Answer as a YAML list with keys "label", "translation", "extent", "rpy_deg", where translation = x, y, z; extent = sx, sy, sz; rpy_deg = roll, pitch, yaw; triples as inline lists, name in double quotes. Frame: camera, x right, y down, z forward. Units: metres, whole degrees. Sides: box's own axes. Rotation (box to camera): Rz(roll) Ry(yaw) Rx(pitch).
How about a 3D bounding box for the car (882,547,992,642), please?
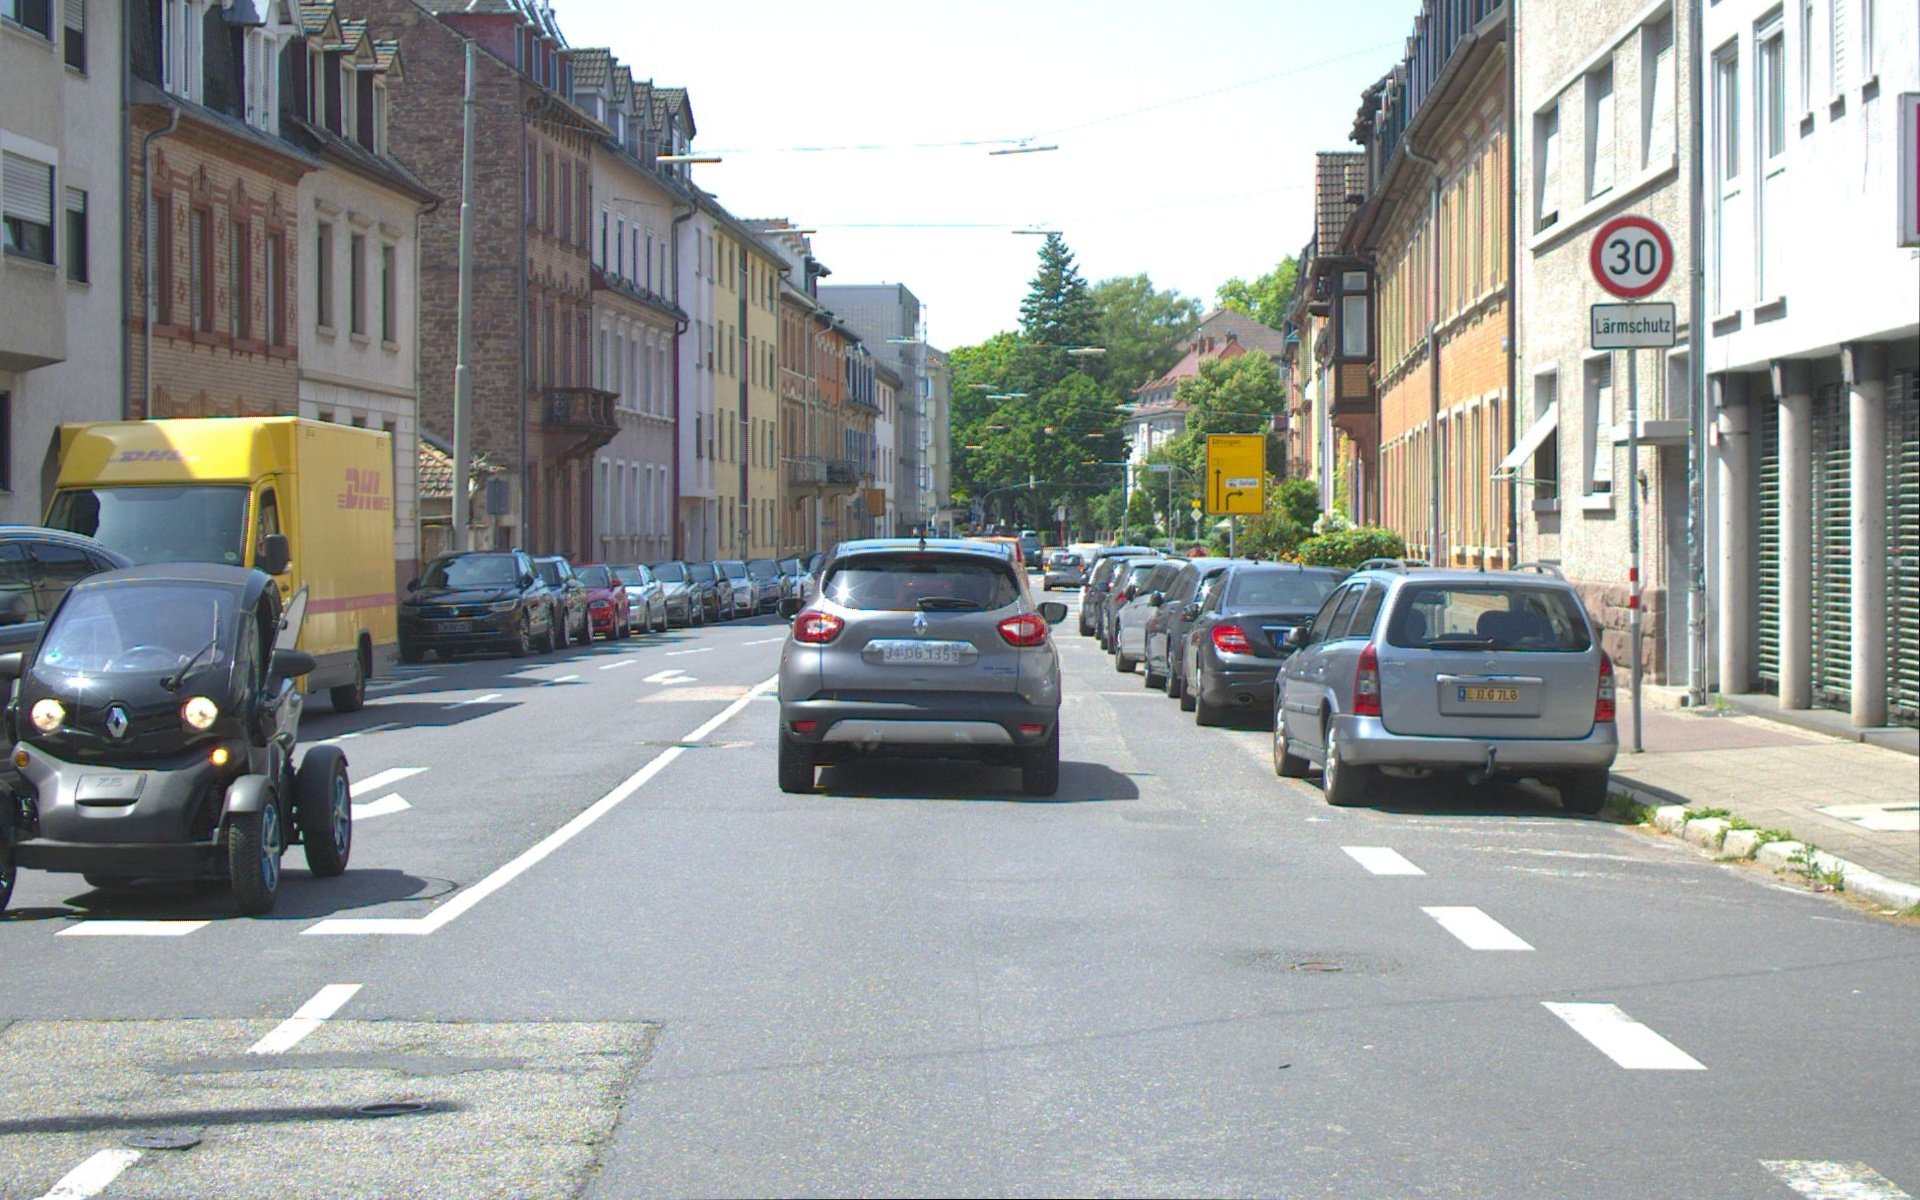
- label: "car"
  translation: [-0.381, -0.128, 62.148]
  extent: [1.812, 1.615, 4.441]
  rpy_deg: [-1, 1, 1]

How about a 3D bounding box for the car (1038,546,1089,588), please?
- label: "car"
  translation: [3.953, -1.269, 130.612]
  extent: [1.764, 1.554, 3.942]
  rpy_deg: [0, 1, 4]

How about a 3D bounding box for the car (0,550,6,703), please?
- label: "car"
  translation: [-9.333, 0.341, 28.049]
  extent: [1.839, 1.590, 4.387]
  rpy_deg: [2, 1, 0]

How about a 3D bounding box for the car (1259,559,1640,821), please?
- label: "car"
  translation: [2.994, 0.492, 21.830]
  extent: [1.677, 1.449, 4.143]
  rpy_deg: [2, 1, -2]

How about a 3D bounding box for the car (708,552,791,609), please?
- label: "car"
  translation: [-5.594, -0.533, 91.855]
  extent: [1.840, 1.418, 4.646]
  rpy_deg: [-2, 0, 1]

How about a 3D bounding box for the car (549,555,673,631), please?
- label: "car"
  translation: [-6.965, -0.147, 68.972]
  extent: [1.840, 1.418, 4.502]
  rpy_deg: [-2, 0, 2]

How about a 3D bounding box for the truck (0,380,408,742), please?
- label: "truck"
  translation: [-6.737, -0.346, 30.458]
  extent: [2.225, 2.762, 7.563]
  rpy_deg: [-1, 1, 1]

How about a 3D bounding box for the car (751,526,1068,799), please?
- label: "car"
  translation: [-0.418, 0.334, 22.527]
  extent: [1.743, 1.611, 4.001]
  rpy_deg: [1, 1, -5]

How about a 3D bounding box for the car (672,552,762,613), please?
- label: "car"
  translation: [-6.045, -0.440, 85.936]
  extent: [1.840, 1.418, 4.502]
  rpy_deg: [-2, 0, 1]

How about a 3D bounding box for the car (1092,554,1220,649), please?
- label: "car"
  translation: [2.954, 0.004, 52.529]
  extent: [1.700, 1.376, 4.167]
  rpy_deg: [1, 0, 0]

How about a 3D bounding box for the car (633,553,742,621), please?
- label: "car"
  translation: [-6.353, -0.320, 80.689]
  extent: [1.840, 1.417, 4.502]
  rpy_deg: [-4, 0, 4]

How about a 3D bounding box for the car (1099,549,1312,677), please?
- label: "car"
  translation: [2.929, 0.124, 41.970]
  extent: [1.853, 1.458, 4.551]
  rpy_deg: [1, 0, -5]

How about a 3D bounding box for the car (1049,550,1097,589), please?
- label: "car"
  translation: [4.510, -1.227, 137.001]
  extent: [1.764, 1.554, 3.942]
  rpy_deg: [0, 1, 4]

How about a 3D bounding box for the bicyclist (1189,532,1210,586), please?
- label: "bicyclist"
  translation: [6.491, -1.109, 93.209]
  extent: [0.532, 1.464, 0.791]
  rpy_deg: [0, 1, 3]

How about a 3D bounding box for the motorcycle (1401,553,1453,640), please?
- label: "motorcycle"
  translation: [6.648, -0.055, 48.974]
  extent: [0.596, 1.220, 1.361]
  rpy_deg: [0, 0, 2]

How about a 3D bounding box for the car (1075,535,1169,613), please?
- label: "car"
  translation: [3.572, -0.585, 75.727]
  extent: [1.994, 1.656, 4.625]
  rpy_deg: [0, 1, 3]

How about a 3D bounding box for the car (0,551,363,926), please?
- label: "car"
  translation: [-3.442, 0.521, 14.752]
  extent: [1.496, 1.454, 2.723]
  rpy_deg: [0, 1, -5]

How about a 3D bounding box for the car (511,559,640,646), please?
- label: "car"
  translation: [-6.949, 0.019, 62.529]
  extent: [1.839, 1.417, 4.503]
  rpy_deg: [-3, 1, -1]

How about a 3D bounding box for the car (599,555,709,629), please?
- label: "car"
  translation: [-6.629, -0.180, 74.828]
  extent: [1.840, 1.417, 4.502]
  rpy_deg: [-4, 0, 1]

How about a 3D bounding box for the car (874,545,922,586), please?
- label: "car"
  translation: [-2.543, -1.423, 142.564]
  extent: [1.904, 1.614, 4.302]
  rpy_deg: [-2, 1, -1]

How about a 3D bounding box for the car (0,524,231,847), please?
- label: "car"
  translation: [-5.597, 0.441, 17.816]
  extent: [1.813, 1.615, 4.439]
  rpy_deg: [-1, 0, 13]

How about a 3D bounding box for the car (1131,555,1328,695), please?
- label: "car"
  translation: [2.845, 0.231, 37.025]
  extent: [1.651, 1.415, 4.049]
  rpy_deg: [0, 1, -2]

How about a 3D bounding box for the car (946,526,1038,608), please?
- label: "car"
  translation: [0.842, -0.856, 87.210]
  extent: [1.994, 2.007, 4.465]
  rpy_deg: [-1, 1, 5]

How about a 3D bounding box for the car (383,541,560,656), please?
- label: "car"
  translation: [-7.316, -0.040, 51.890]
  extent: [1.840, 1.591, 4.502]
  rpy_deg: [-2, 0, 2]

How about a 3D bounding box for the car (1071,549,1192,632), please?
- label: "car"
  translation: [3.008, -0.184, 61.151]
  extent: [1.648, 1.409, 4.502]
  rpy_deg: [1, 0, -3]

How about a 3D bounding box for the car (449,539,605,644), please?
- label: "car"
  translation: [-7.226, -0.153, 57.834]
  extent: [1.840, 1.591, 4.502]
  rpy_deg: [-3, 0, 2]

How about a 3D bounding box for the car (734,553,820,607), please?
- label: "car"
  translation: [-5.177, -0.580, 97.622]
  extent: [1.840, 1.418, 4.557]
  rpy_deg: [-3, 0, 4]

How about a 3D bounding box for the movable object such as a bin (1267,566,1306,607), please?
- label: "movable object such as a bin"
  translation: [7.183, -0.301, 75.646]
  extent: [0.788, 0.904, 0.539]
  rpy_deg: [0, 1, 0]

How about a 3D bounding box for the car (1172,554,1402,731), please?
- label: "car"
  translation: [2.867, 0.325, 30.937]
  extent: [1.711, 1.468, 4.438]
  rpy_deg: [0, 1, 1]
